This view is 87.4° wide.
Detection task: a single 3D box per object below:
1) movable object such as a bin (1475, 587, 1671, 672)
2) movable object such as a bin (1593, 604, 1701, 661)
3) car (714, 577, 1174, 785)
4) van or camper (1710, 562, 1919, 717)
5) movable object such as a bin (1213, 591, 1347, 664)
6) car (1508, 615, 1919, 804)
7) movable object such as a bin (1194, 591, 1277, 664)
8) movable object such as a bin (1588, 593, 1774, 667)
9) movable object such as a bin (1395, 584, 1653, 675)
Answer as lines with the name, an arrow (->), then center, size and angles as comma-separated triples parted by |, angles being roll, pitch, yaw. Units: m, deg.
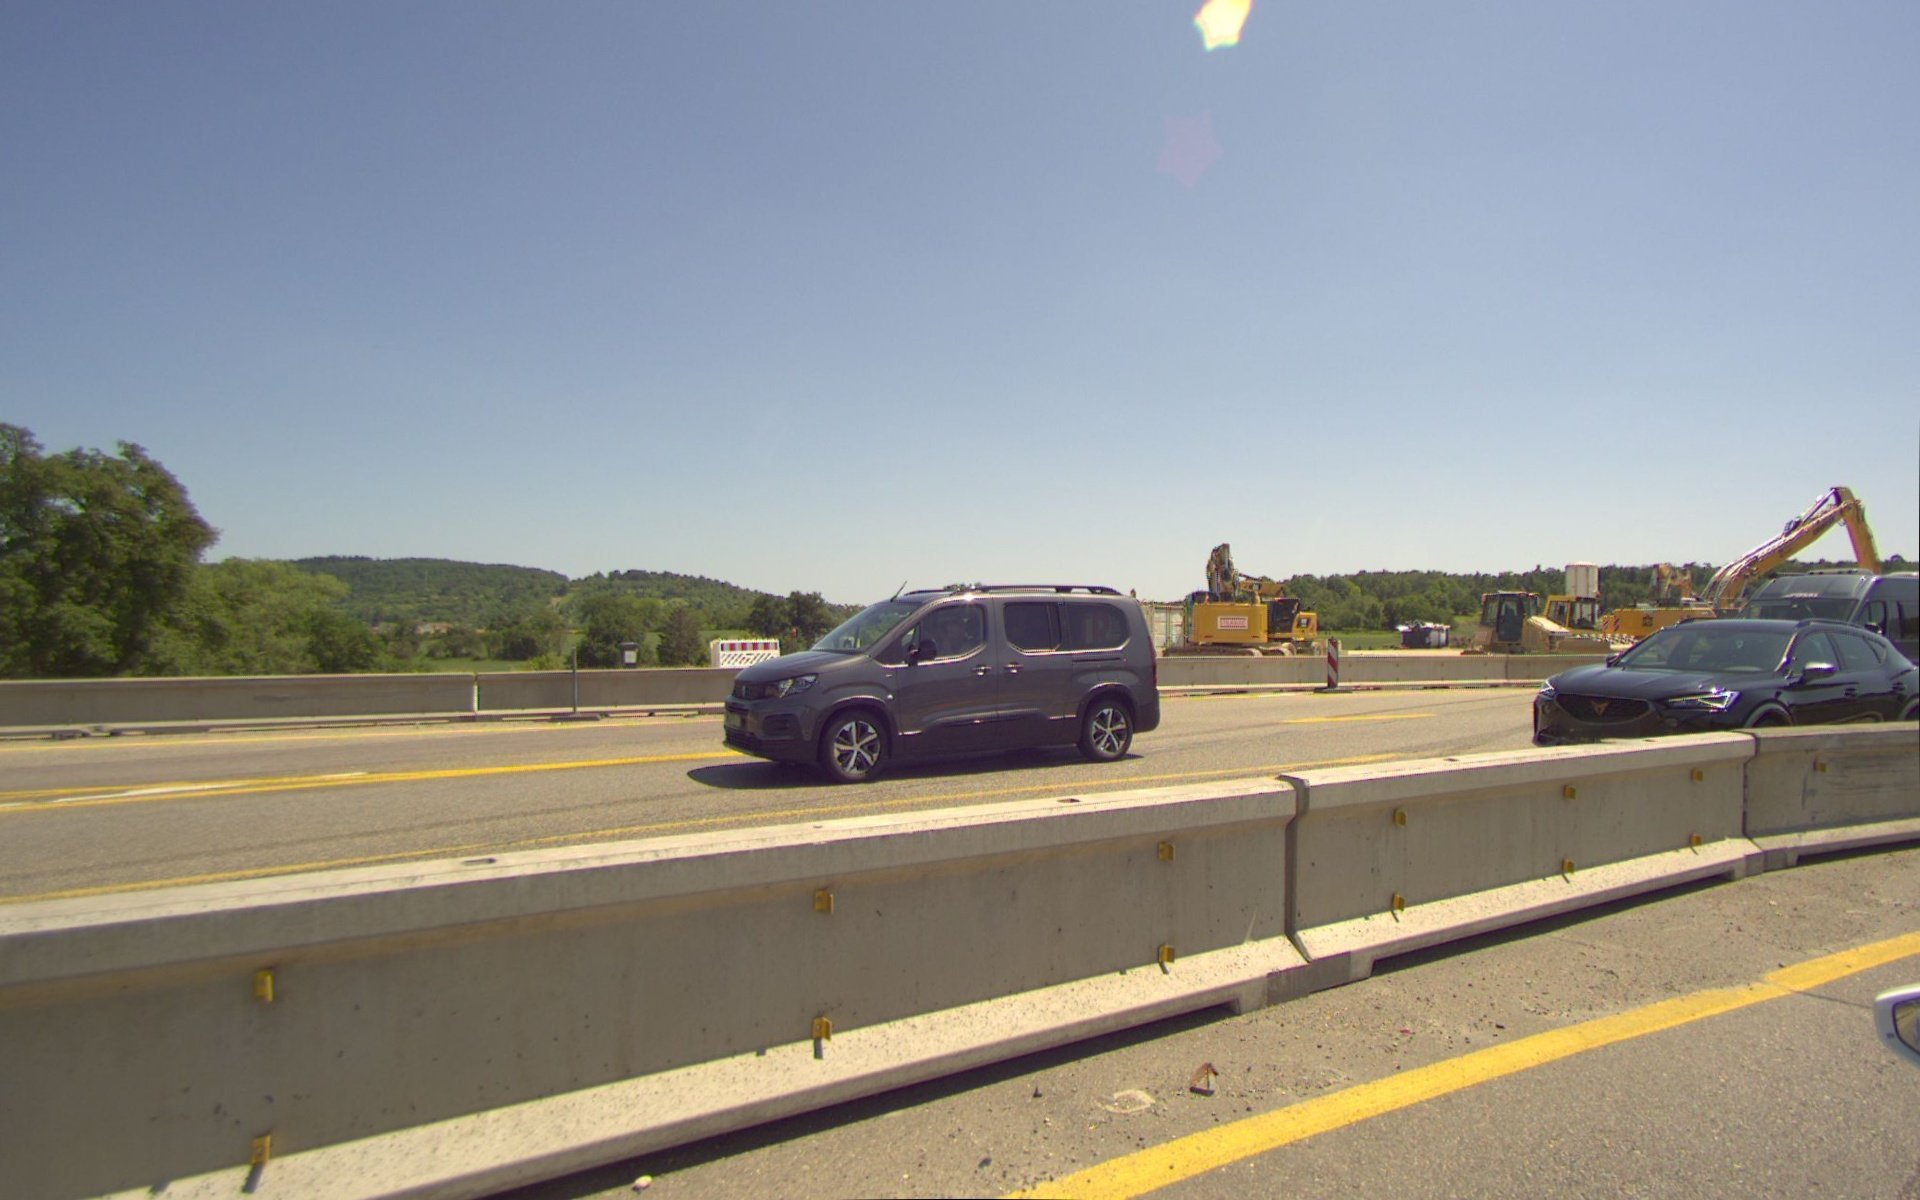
movable object such as a bin -> 22.923, 1.005, 37.972 | 2.764, 2.800, 6.052 | 1, 1, -14
movable object such as a bin -> 39.997, 1.832, 58.487 | 4.940, 3.066, 3.642 | -1, -1, -34
car -> -0.062, 0.771, 10.658 | 4.657, 1.788, 1.766 | 1, -2, -32
van or camper -> 17.190, 0.741, 18.917 | 6.215, 2.575, 2.094 | 1, -2, -23
movable object such as a bin -> 15.936, 1.316, 50.027 | 5.502, 3.300, 3.768 | 1, 2, -36
car -> 7.518, 0.935, 9.768 | 4.413, 1.501, 1.683 | 1, -2, -28
movable object such as a bin -> 11.342, 1.080, 41.644 | 2.821, 2.764, 3.363 | 2, 1, 8
movable object such as a bin -> 27.018, 1.113, 37.709 | 5.360, 2.473, 3.284 | 1, 2, -22
movable object such as a bin -> 18.247, 0.804, 33.379 | 3.648, 2.465, 7.923 | 2, 2, -4
